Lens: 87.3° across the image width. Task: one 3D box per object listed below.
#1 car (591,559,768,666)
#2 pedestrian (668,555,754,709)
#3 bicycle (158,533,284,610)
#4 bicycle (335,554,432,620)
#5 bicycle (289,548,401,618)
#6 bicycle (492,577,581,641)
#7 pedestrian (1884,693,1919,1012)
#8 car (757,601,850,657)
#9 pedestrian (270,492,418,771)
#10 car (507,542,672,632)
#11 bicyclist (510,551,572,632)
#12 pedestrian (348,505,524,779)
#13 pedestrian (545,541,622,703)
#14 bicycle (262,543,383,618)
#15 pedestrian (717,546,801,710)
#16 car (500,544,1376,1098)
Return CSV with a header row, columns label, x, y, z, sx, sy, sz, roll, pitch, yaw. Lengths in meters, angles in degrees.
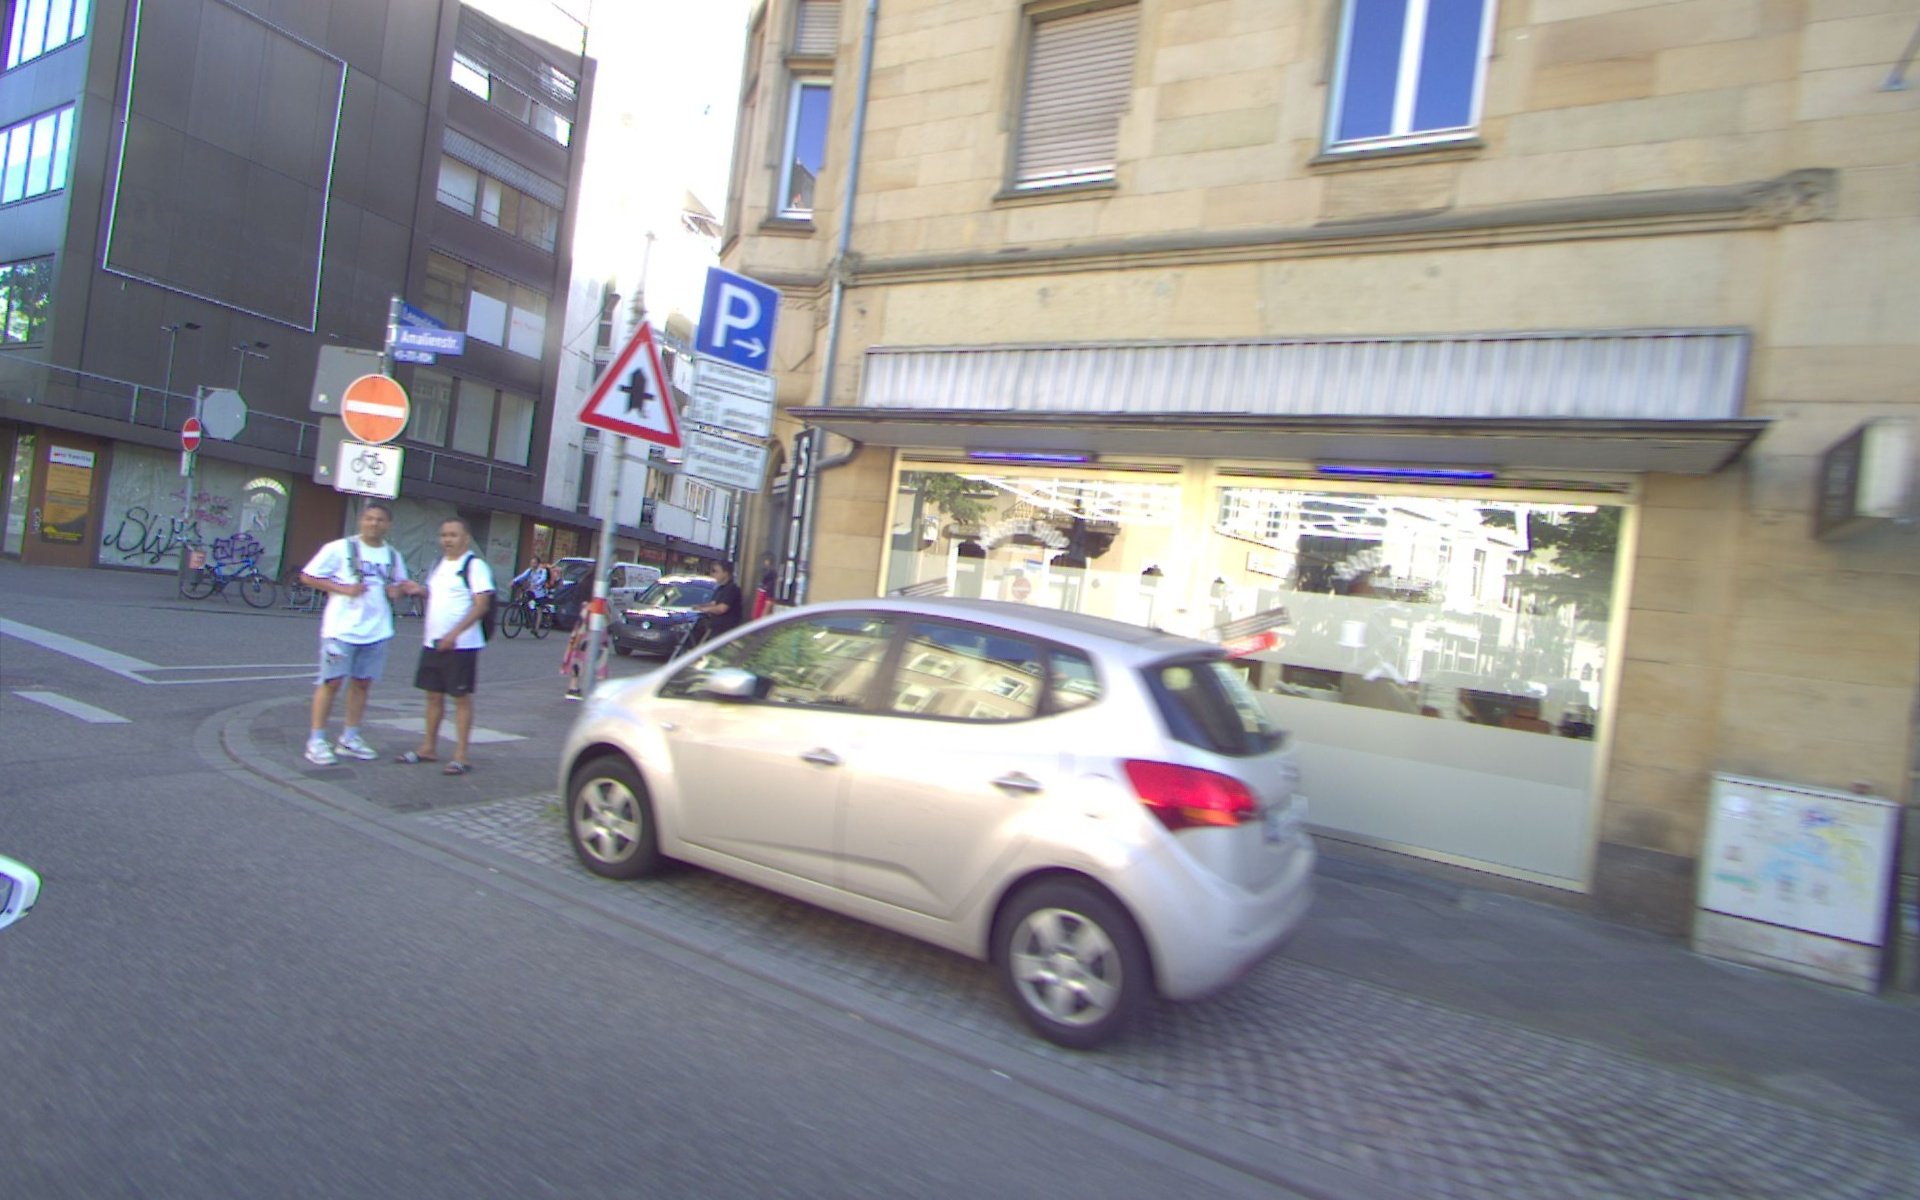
label,x,y,z,sx,sy,sz,roll,pitch,yaw
car,-5.768,0.323,21.350,1.962,1.792,4.322,7,-1,6
pedestrian,-2.946,0.369,11.883,0.613,1.712,0.710,7,-1,-32
bicycle,-13.784,-0.522,18.789,1.716,1.175,0.572,8,0,-9
bicycle,-12.842,-0.274,22.421,1.714,1.145,0.573,11,0,5
bicycle,-13.136,-0.352,21.507,1.892,1.145,0.573,11,0,1
bicycle,-8.765,0.223,20.919,0.656,1.171,1.946,7,-2,9
pedestrian,5.535,1.351,5.377,0.587,1.763,0.536,7,0,26
car,-4.689,0.934,30.654,1.742,1.428,3.673,6,-2,7
pedestrian,-4.185,0.196,6.809,0.688,1.742,0.886,5,2,-35
car,-10.025,-0.263,27.752,2.078,1.951,4.957,7,-1,6
bicyclist,-8.714,-0.163,20.953,0.656,1.543,0.891,7,-1,9
pedestrian,-3.611,0.277,6.981,0.681,1.742,0.698,6,2,7
pedestrian,-4.212,0.244,11.293,0.609,1.712,0.673,5,0,-16
bicycle,-13.181,-0.399,20.826,1.981,1.175,0.573,11,0,1
pedestrian,-2.220,0.295,11.079,0.494,1.712,0.710,7,-1,-32
car,-0.206,0.741,5.280,4.057,1.594,1.975,7,1,31
